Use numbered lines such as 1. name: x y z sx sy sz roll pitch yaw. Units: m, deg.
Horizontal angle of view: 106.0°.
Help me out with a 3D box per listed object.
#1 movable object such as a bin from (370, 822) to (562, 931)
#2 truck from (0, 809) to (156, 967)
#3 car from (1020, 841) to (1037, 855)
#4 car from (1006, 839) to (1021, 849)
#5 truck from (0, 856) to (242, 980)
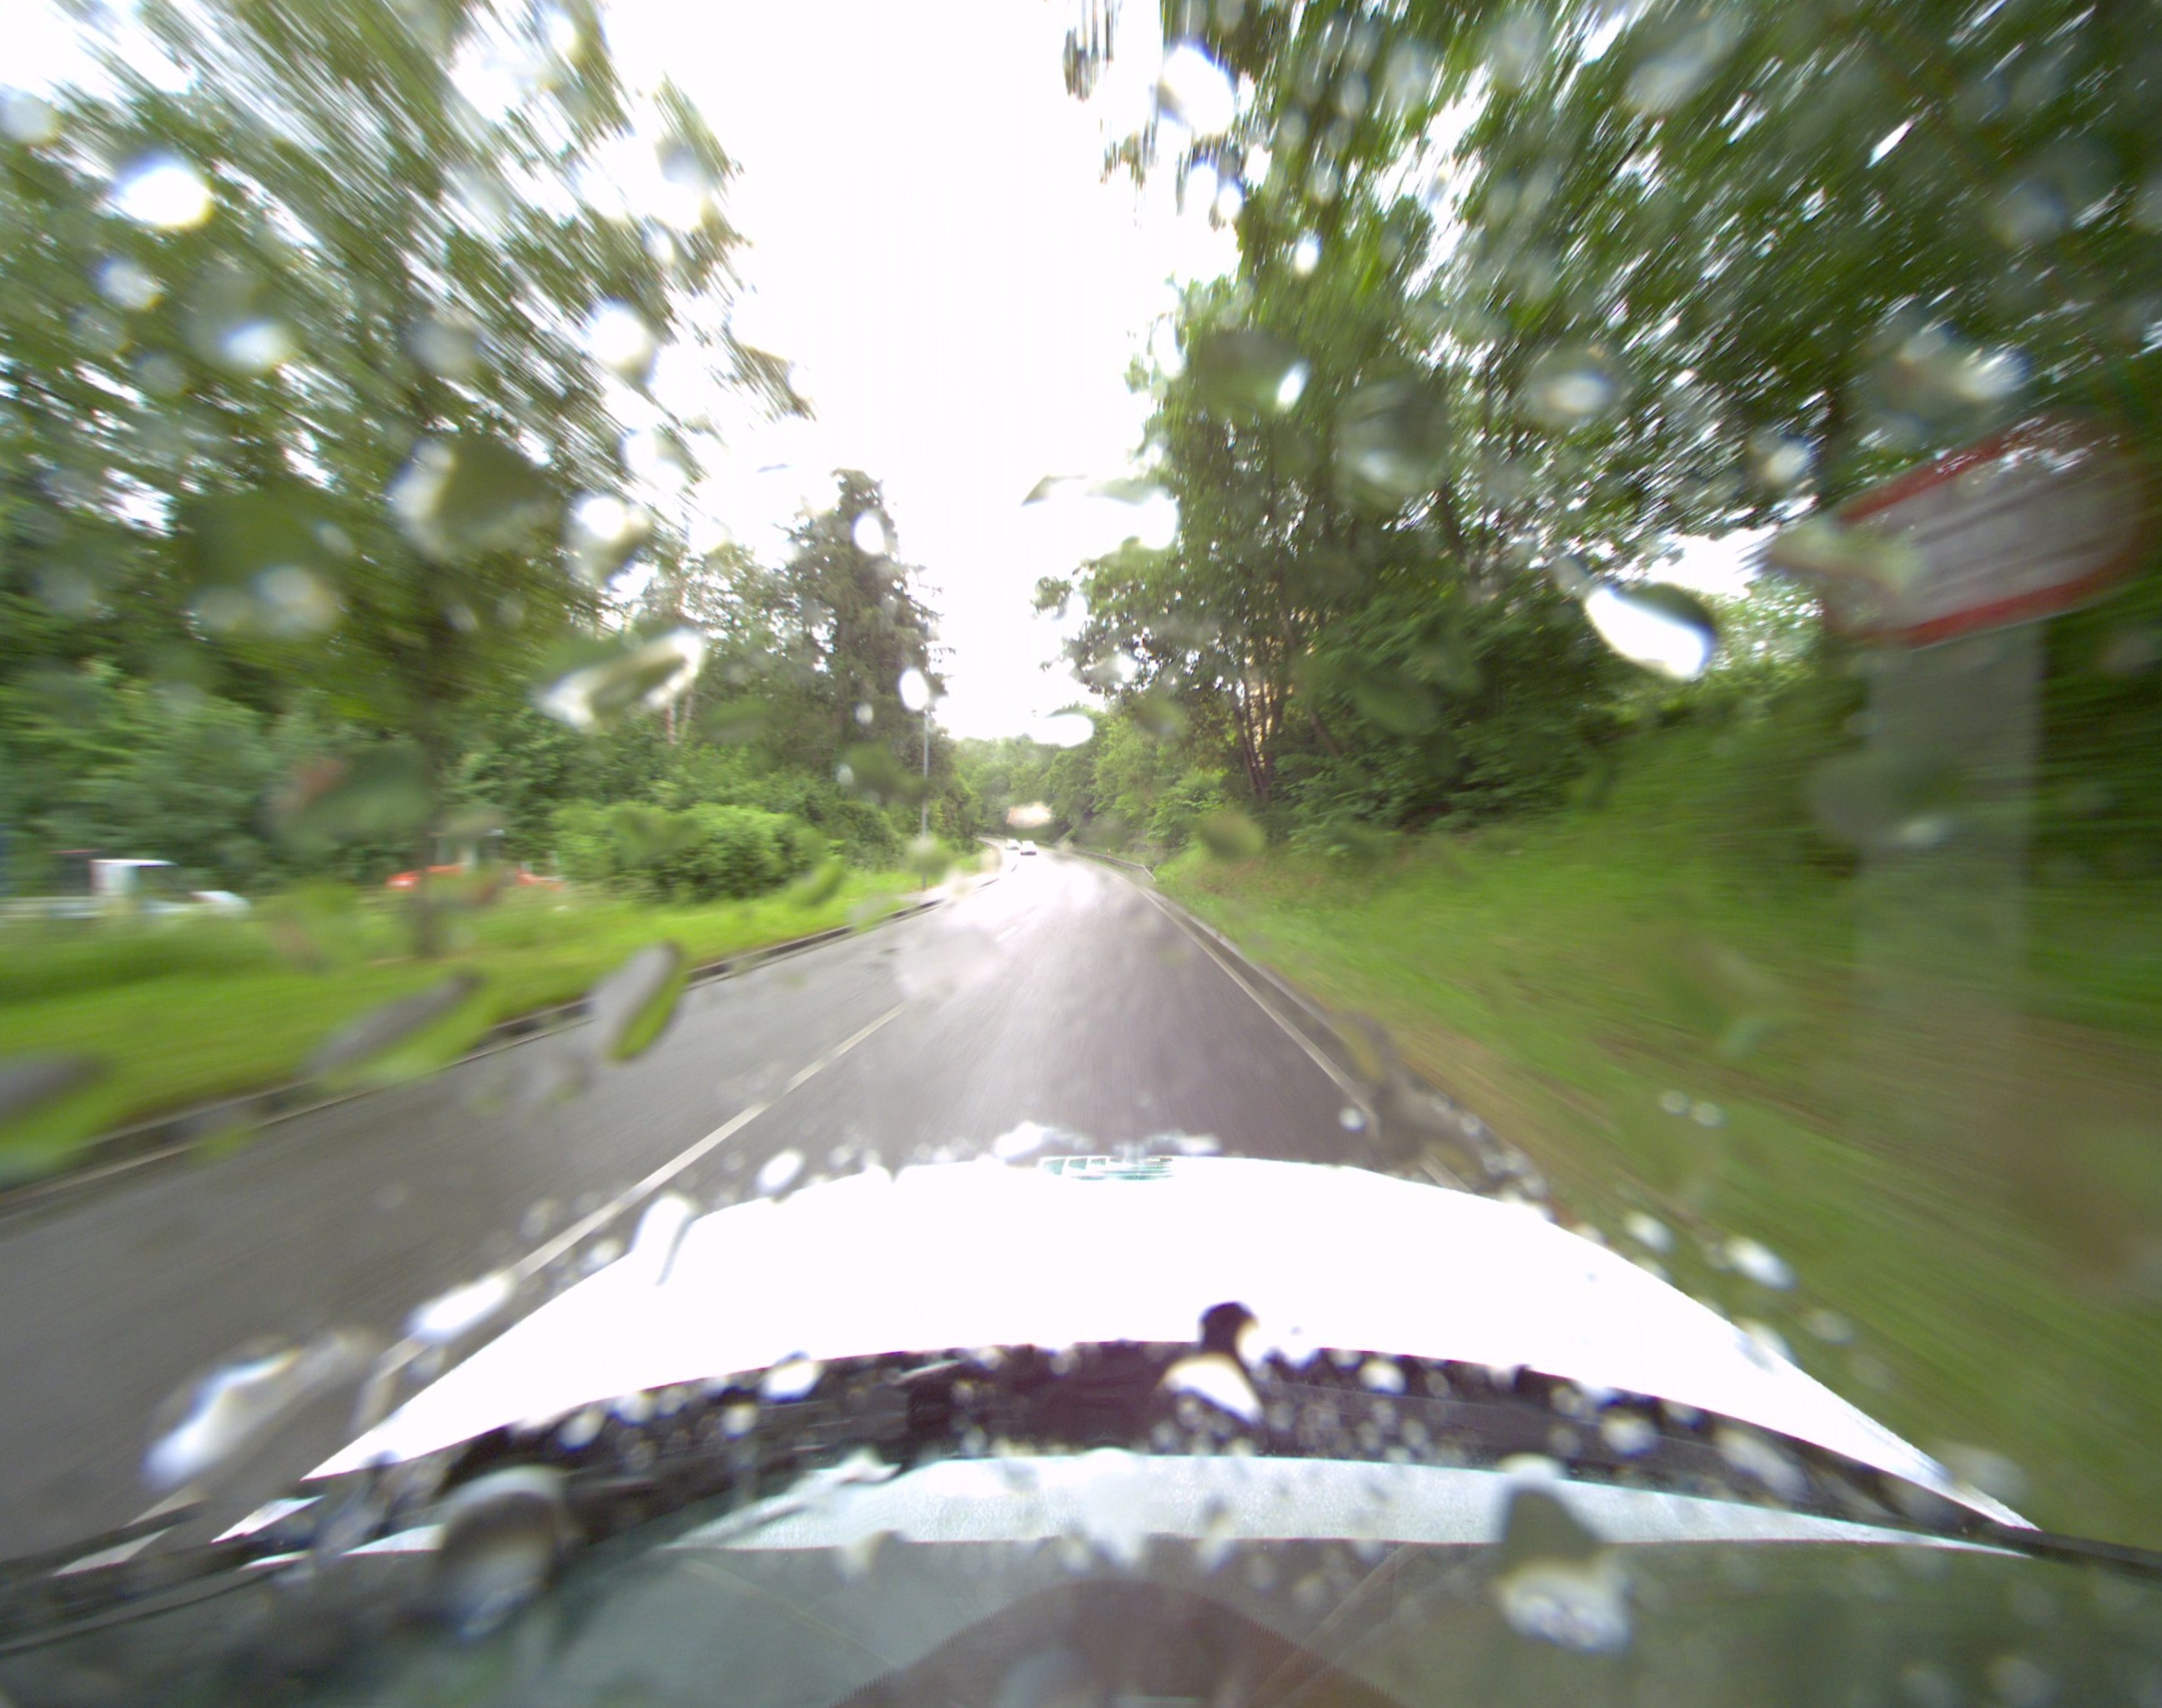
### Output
1. movable object such as a bin: -17.569 0.580 23.533 1.979 2.861 4.016 1 0 15
2. truck: -17.787 0.534 12.188 1.988 2.457 5.219 1 1 -2
3. car: -6.474 -0.754 99.939 1.813 1.647 4.120 -1 1 -8
4. car: -9.900 -1.487 119.153 1.816 1.434 3.984 -1 1 -12
5. truck: -20.899 1.218 15.694 1.976 2.201 6.273 1 1 22
